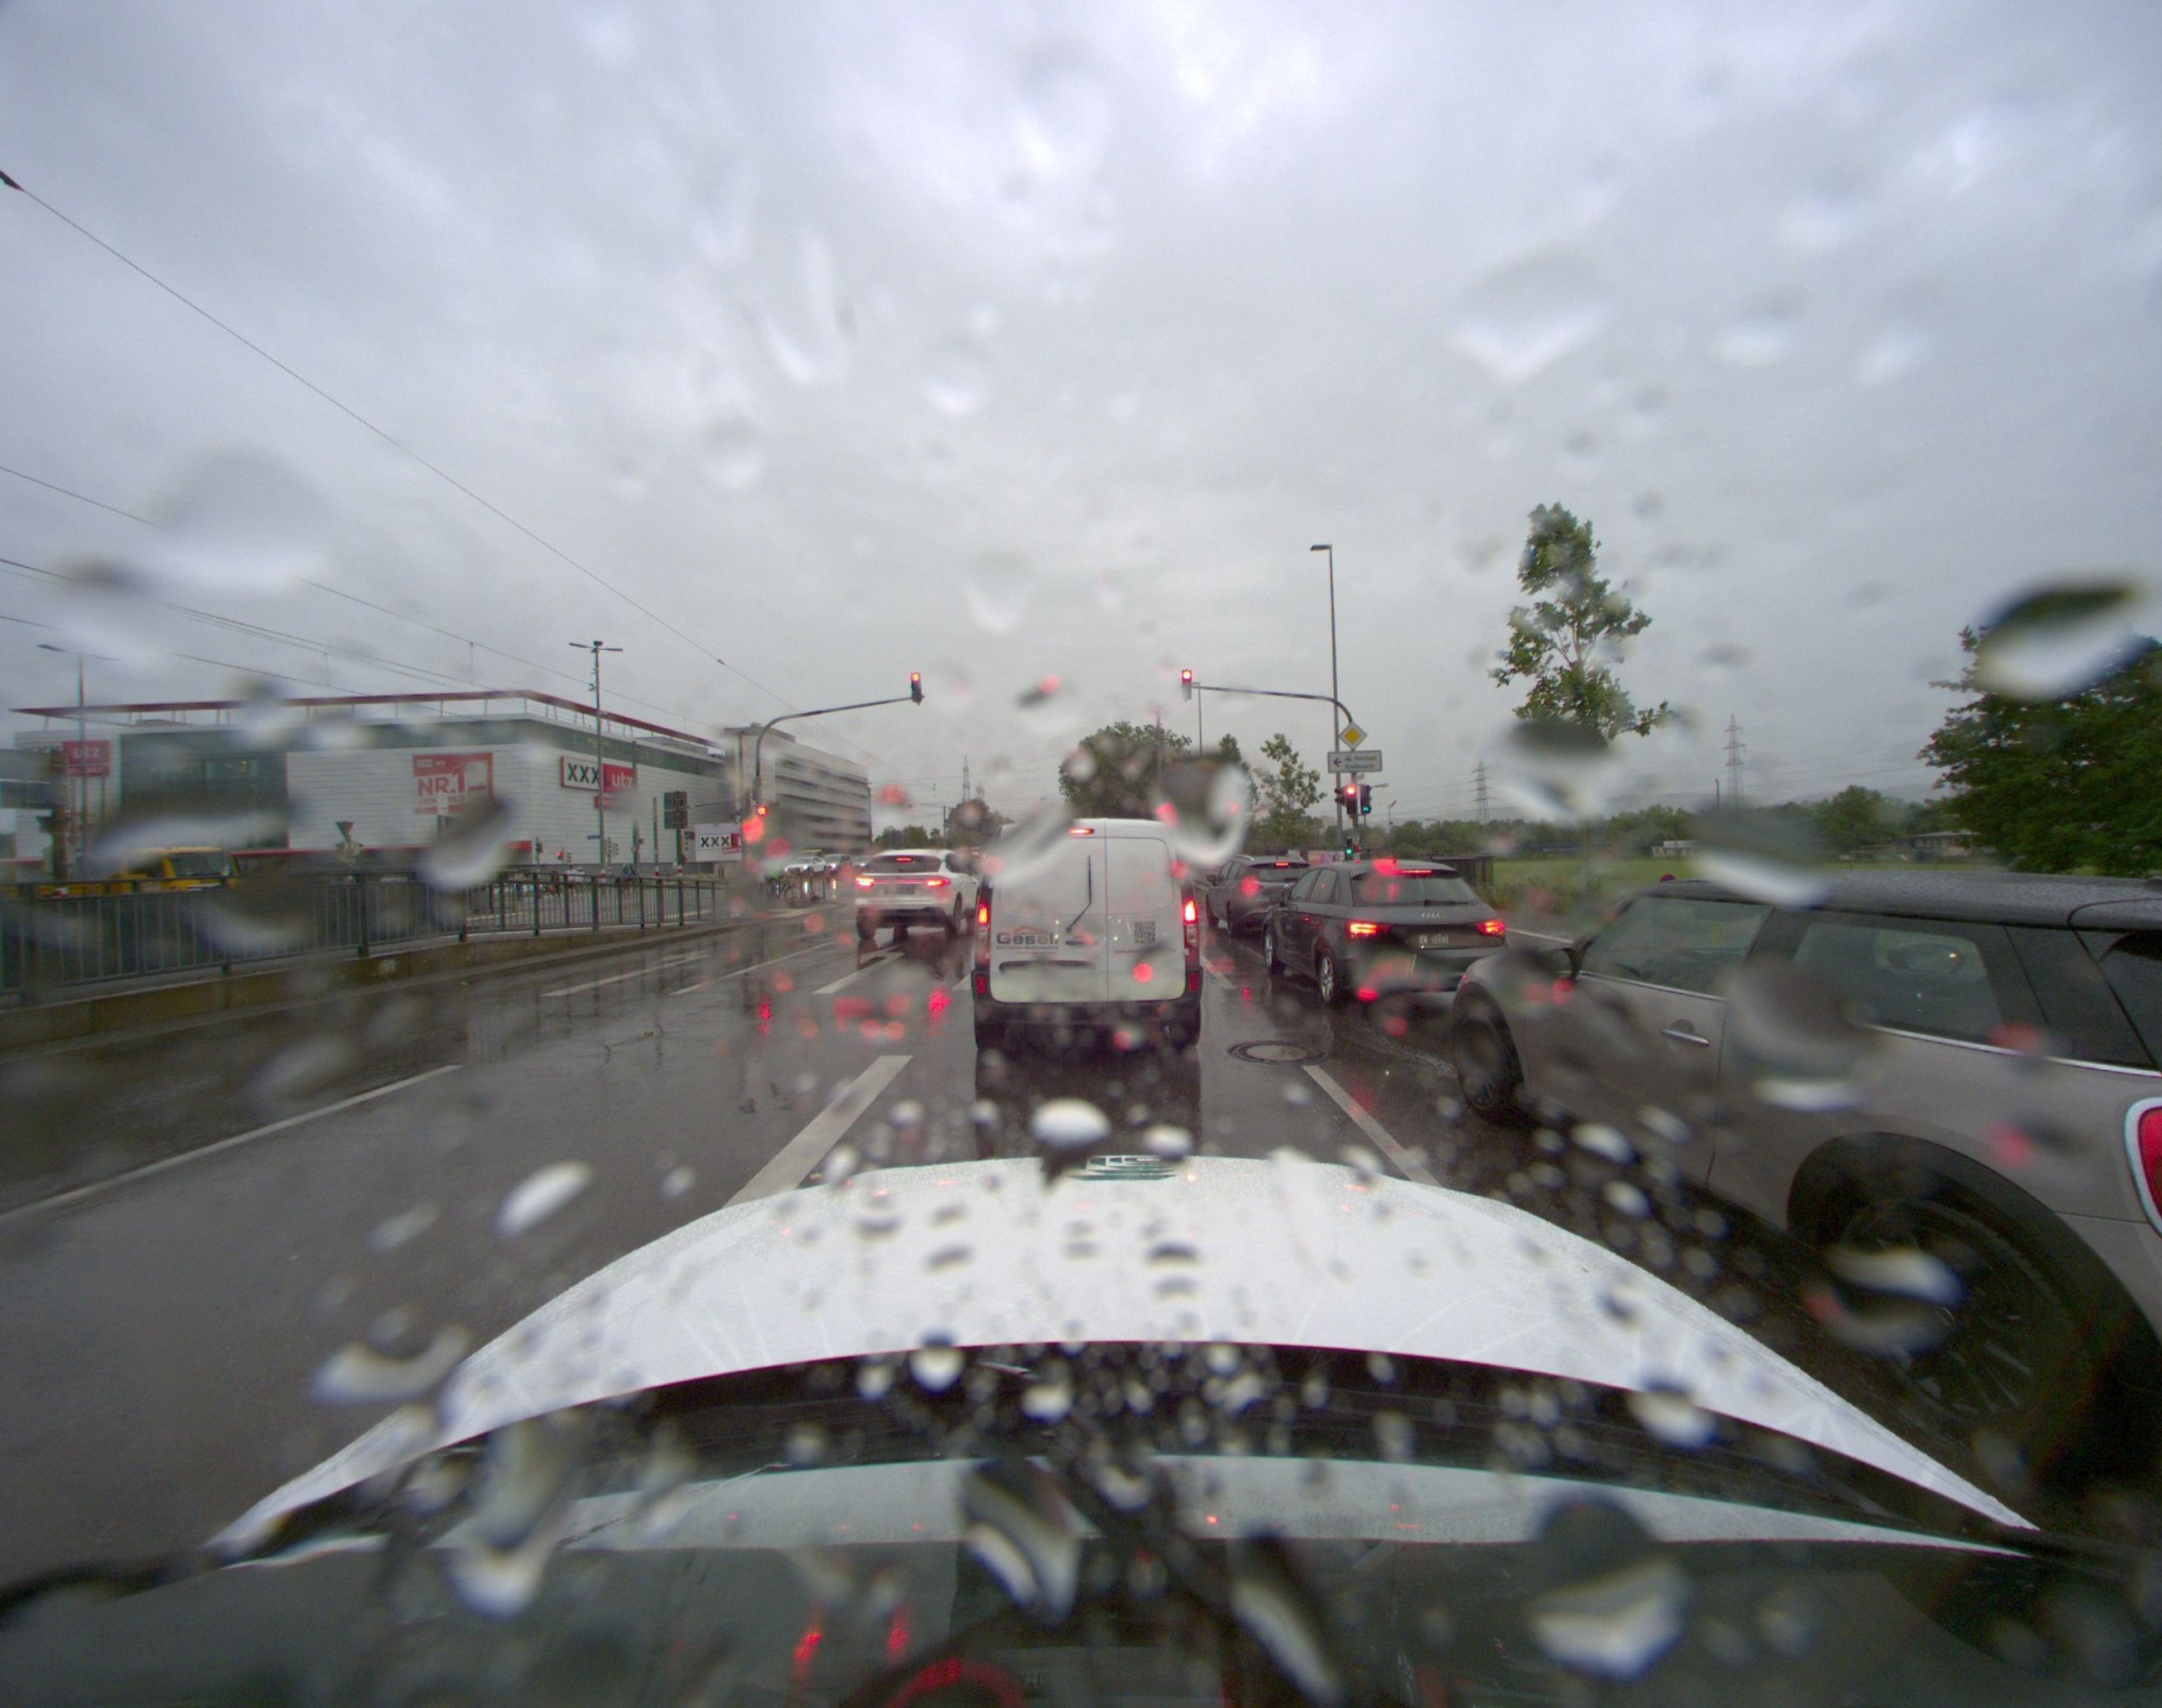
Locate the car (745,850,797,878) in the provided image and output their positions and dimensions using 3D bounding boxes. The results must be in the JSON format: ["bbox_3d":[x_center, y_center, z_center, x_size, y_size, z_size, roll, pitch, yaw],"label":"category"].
[{"bbox_3d":[-23.067,0.765,60.718,1.983,2.014,4.007,0,-1,6],"label":"car"}]

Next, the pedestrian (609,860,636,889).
[{"bbox_3d":[-26.656,1.185,47.317,0.912,1.632,1.015,-1,-1,12],"label":"pedestrian"}]

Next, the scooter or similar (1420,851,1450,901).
[{"bbox_3d":[8.437,0.515,19.450,0.244,1.158,1.187,0,-1,3],"label":"scooter or similar"}]

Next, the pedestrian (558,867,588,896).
[{"bbox_3d":[-29.132,1.589,46.684,1.013,1.632,1.092,-1,-1,31],"label":"pedestrian"}]

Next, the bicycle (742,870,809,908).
[{"bbox_3d":[-8.903,1.020,23.750,1.745,1.034,0.414,2,-1,0],"label":"bicycle"}]

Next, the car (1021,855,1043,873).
[{"bbox_3d":[-4.223,0.839,69.388,1.613,1.503,3.705,0,-1,-8],"label":"car"}]

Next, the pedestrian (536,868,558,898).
[{"bbox_3d":[-29.816,1.616,45.459,0.701,1.632,0.918,0,-1,-10],"label":"pedestrian"}]

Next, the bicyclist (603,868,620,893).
[{"bbox_3d":[-28.556,1.612,49.531,0.681,1.464,0.647,0,-1,3],"label":"bicyclist"}]

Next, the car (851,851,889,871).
[{"bbox_3d":[-18.332,0.629,70.990,1.883,1.699,4.006,0,-1,6],"label":"car"}]

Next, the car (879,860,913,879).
[{"bbox_3d":[-17.660,1.453,78.037,1.919,1.827,4.007,0,-1,6],"label":"car"}]

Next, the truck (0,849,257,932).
[{"bbox_3d":[-34.909,1.289,29.594,7.100,2.816,2.640,-1,-1,-1],"label":"truck"}]

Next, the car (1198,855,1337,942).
[{"bbox_3d":[3.410,0.747,15.617,1.853,1.428,3.808,0,0,1],"label":"car"}]

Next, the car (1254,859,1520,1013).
[{"bbox_3d":[3.078,0.730,8.983,1.623,1.344,3.624,0,0,1],"label":"car"}]

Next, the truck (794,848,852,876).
[{"bbox_3d":[-22.401,0.669,71.240,2.342,2.279,7.637,0,0,2],"label":"truck"}]

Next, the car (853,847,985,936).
[{"bbox_3d":[-3.071,0.643,16.335,1.723,1.535,4.298,0,0,1],"label":"car"}]

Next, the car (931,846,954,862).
[{"bbox_3d":[-17.767,0.058,104.661,1.985,2.014,4.004,0,-1,3],"label":"car"}]

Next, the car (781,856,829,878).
[{"bbox_3d":[-19.513,0.918,57.771,1.689,1.492,3.884,-1,-1,7],"label":"car"}]

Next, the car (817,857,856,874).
[{"bbox_3d":[-19.113,0.896,63.777,1.579,1.336,3.837,0,-1,6],"label":"car"}]

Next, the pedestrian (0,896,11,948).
[{"bbox_3d":[-32.425,2.022,24.023,0.561,1.537,0.872,0,-1,1],"label":"pedestrian"}]

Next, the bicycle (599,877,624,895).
[{"bbox_3d":[-28.520,1.935,49.483,0.448,0.987,1.709,0,-1,2],"label":"bicycle"}]

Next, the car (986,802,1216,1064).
[{"bbox_3d":[0.201,0.560,7.636,1.560,1.788,4.002,-1,0,2],"label":"car"}]

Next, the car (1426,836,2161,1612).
[{"bbox_3d":[2.974,0.713,3.249,1.707,1.508,3.624,0,0,1],"label":"car"}]

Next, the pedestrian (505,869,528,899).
[{"bbox_3d":[-31.351,1.630,45.229,0.701,1.632,0.918,0,-1,-10],"label":"pedestrian"}]
